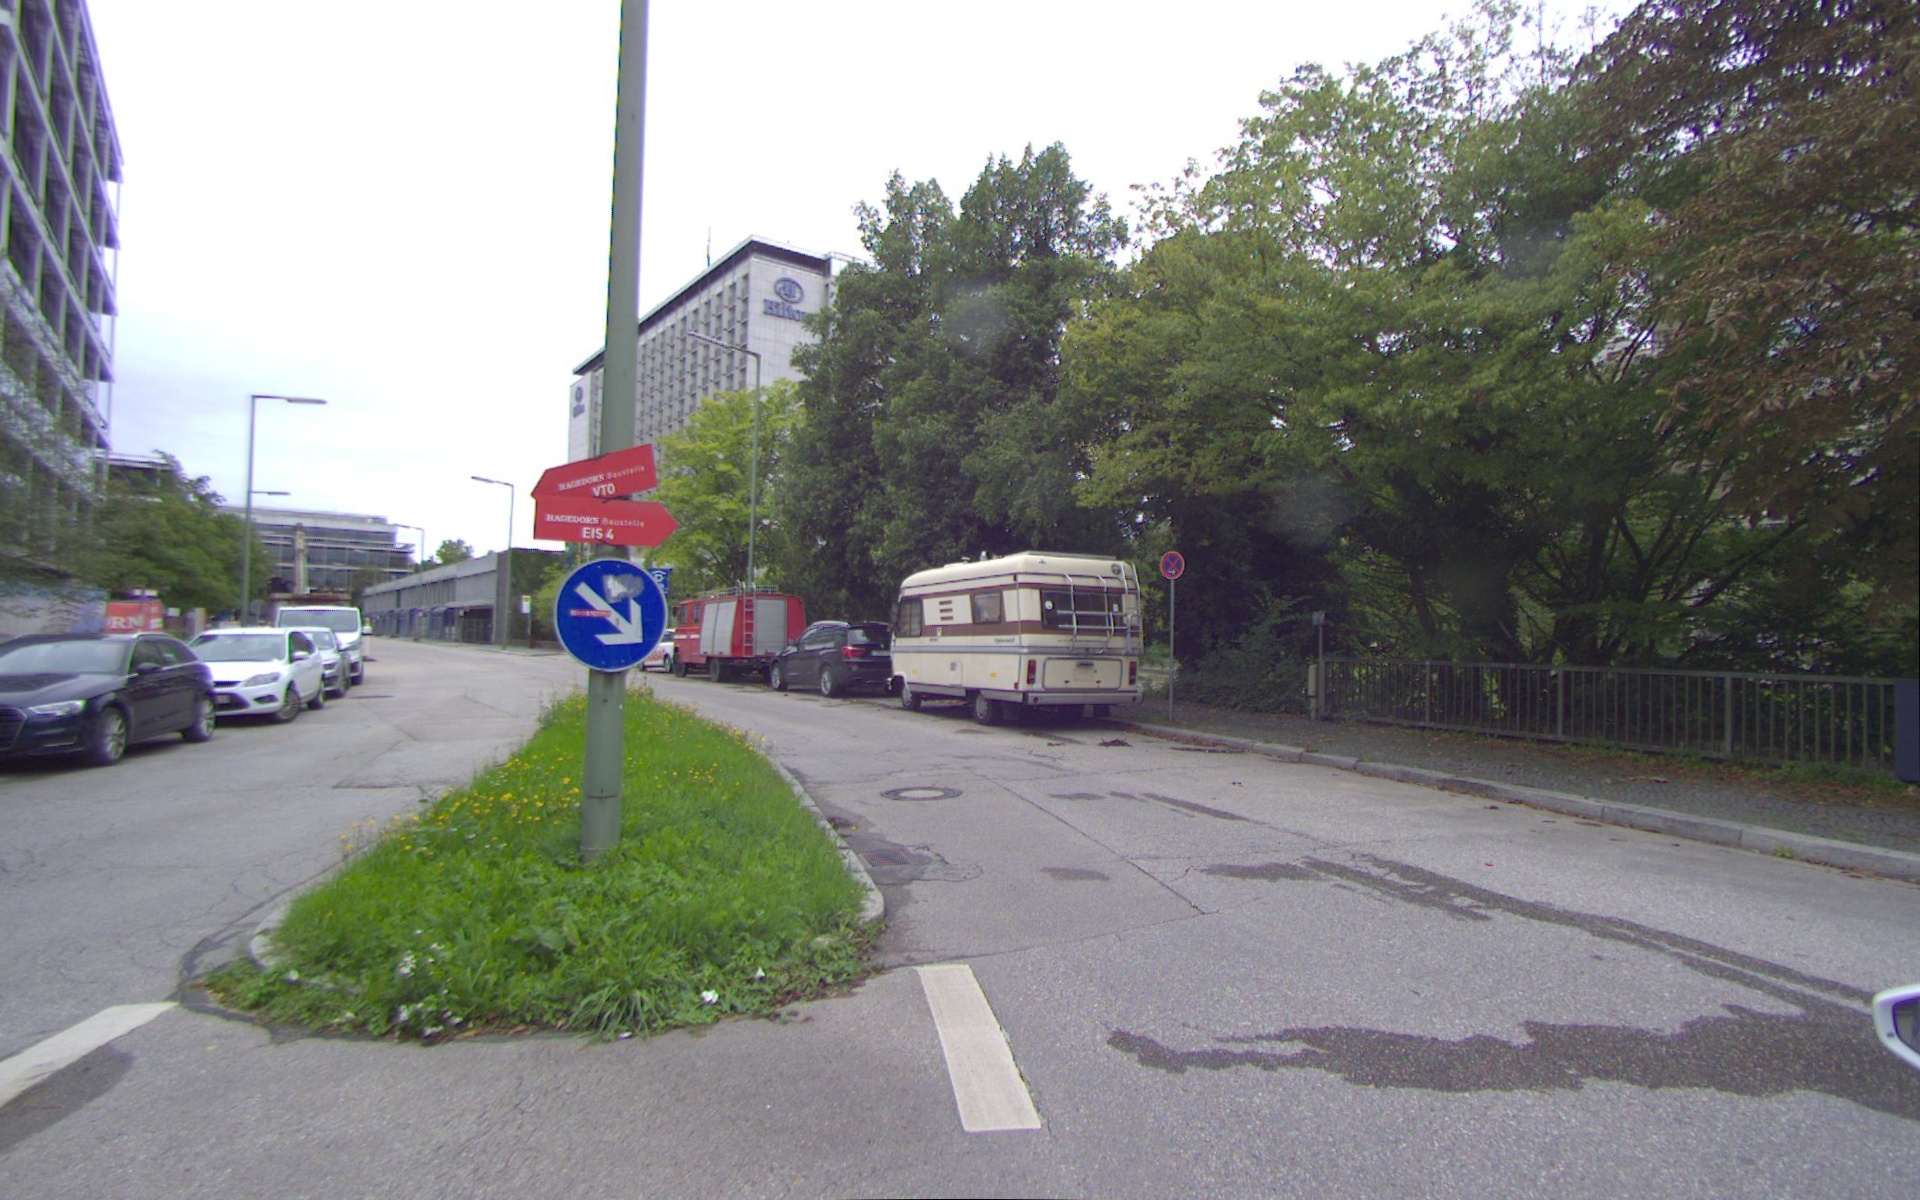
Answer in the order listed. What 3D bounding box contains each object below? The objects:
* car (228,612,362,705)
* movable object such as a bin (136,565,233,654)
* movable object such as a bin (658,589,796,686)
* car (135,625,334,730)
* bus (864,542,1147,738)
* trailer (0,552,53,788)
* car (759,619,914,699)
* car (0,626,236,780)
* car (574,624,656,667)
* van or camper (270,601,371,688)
[{"bbox_3d":[-14.056,1.173,21.481,1.976,1.750,4.416,2,-2,-29],"label":"car"},{"bbox_3d":[-36.564,0.481,47.589,3.222,3.765,8.914,2,-2,-36],"label":"movable object such as a bin"},{"bbox_3d":[-6.884,1.070,29.082,2.087,2.491,6.136,2,-2,-30],"label":"movable object such as a bin"},{"bbox_3d":[-11.880,1.200,16.764,1.747,1.505,4.197,2,-2,-23],"label":"car"},{"bbox_3d":[0.494,0.658,17.144,2.293,2.734,5.695,2,-2,-27],"label":"bus"},{"bbox_3d":[-8.882,0.540,6.677,1.782,2.040,4.827,2,-1,-8],"label":"trailer"},{"bbox_3d":[-2.975,1.309,23.294,1.763,1.671,4.419,3,-2,-33],"label":"car"},{"bbox_3d":[-10.210,1.042,11.543,1.849,1.456,4.310,1,-2,-19],"label":"car"},{"bbox_3d":[-13.561,1.751,39.338,1.766,1.570,4.211,3,-2,-38],"label":"car"},{"bbox_3d":[-16.575,1.096,26.256,1.977,2.040,5.332,2,-2,-30],"label":"van or camper"}]
